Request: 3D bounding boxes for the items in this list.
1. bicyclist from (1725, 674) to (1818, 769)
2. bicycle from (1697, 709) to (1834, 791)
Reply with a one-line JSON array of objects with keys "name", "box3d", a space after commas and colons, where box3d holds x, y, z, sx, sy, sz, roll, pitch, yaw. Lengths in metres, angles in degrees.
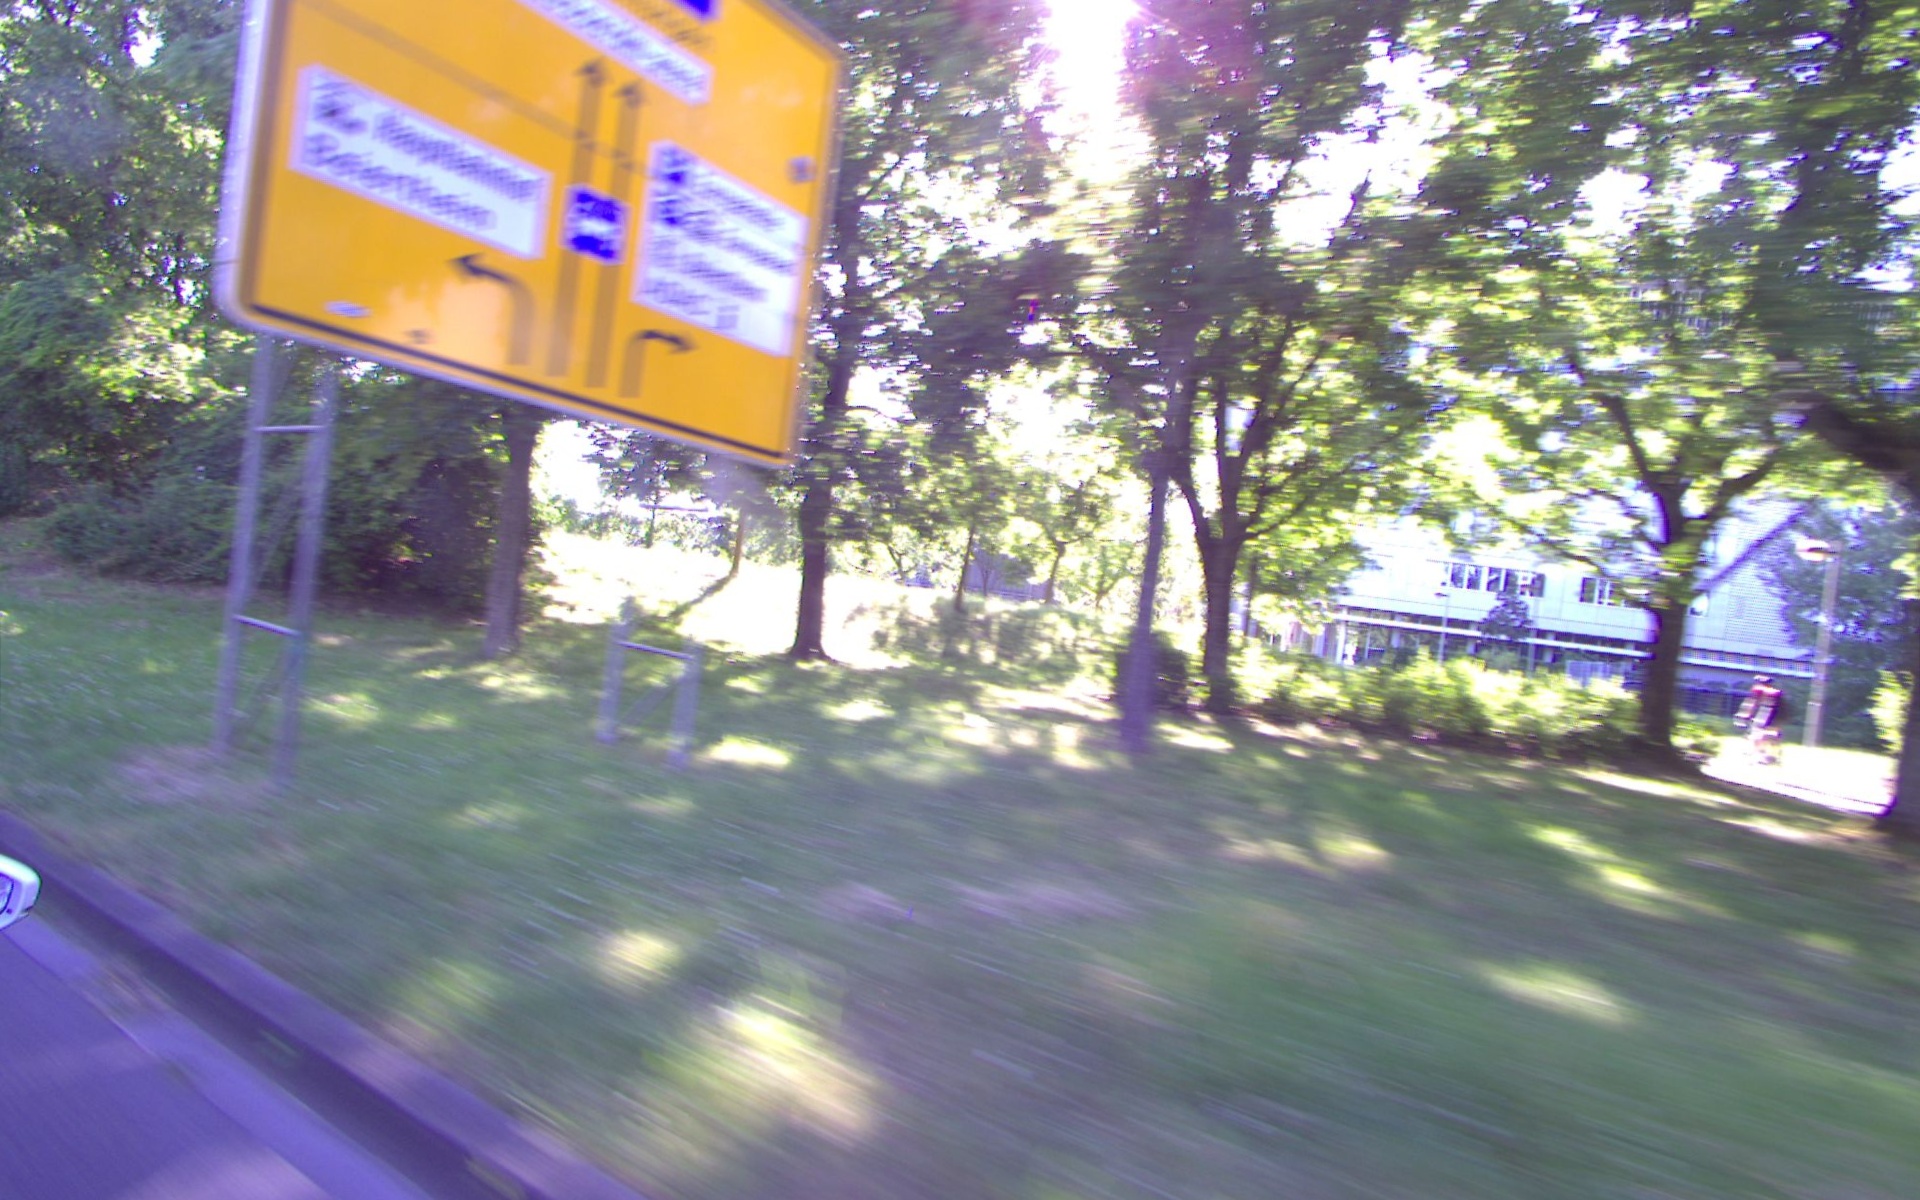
[{"name": "bicyclist", "box3d": [13.840, 2.053, 17.184, 0.777, 1.468, 0.845, 7, 0, 9]}, {"name": "bicycle", "box3d": [13.810, 2.544, 17.340, 0.782, 1.060, 2.144, 7, 0, 9]}]
